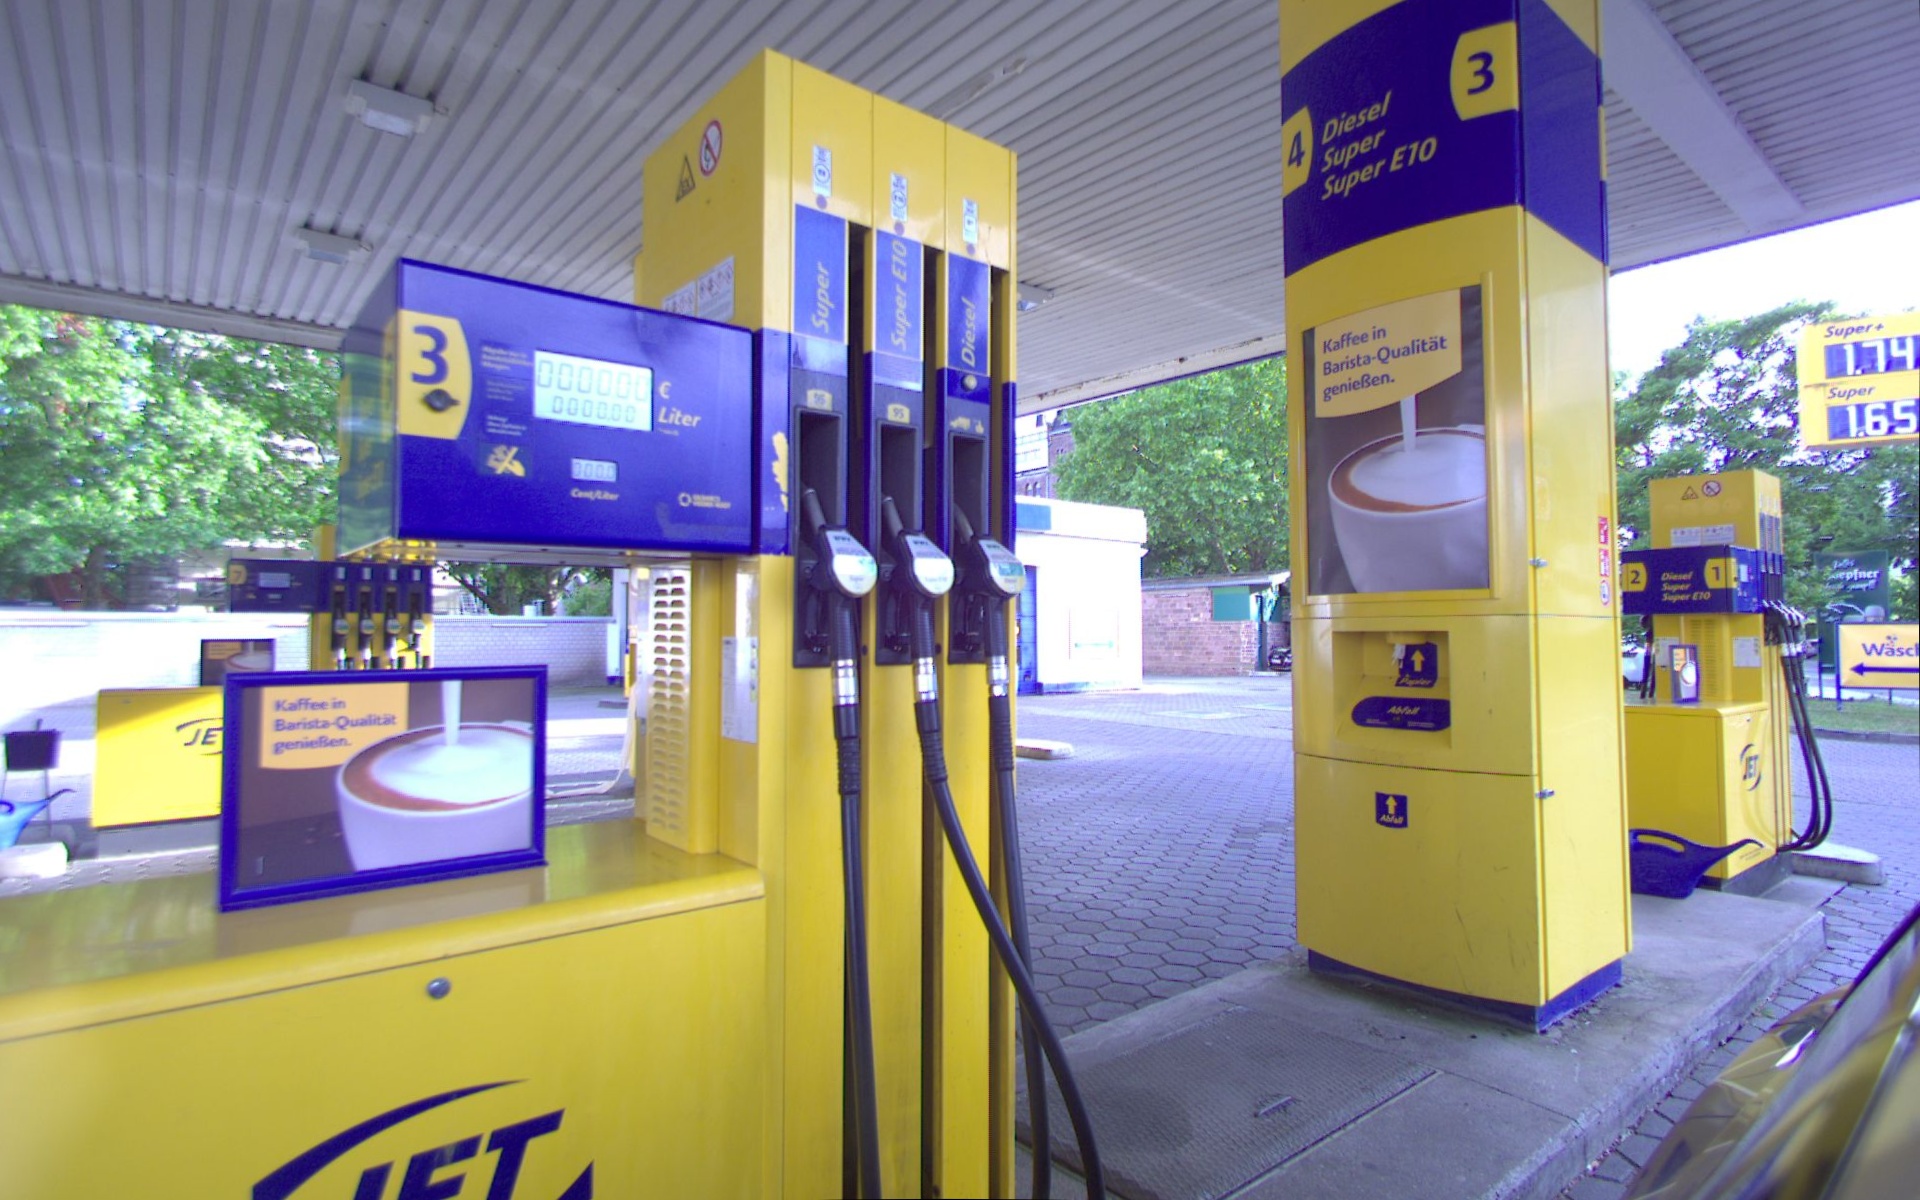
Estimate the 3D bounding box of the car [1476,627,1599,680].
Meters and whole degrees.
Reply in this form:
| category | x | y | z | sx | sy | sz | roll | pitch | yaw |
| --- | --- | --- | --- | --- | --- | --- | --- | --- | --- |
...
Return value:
| category | x | y | z | sx | sy | sz | roll | pitch | yaw |
| --- | --- | --- | --- | --- | --- | --- | --- | --- | --- |
| car | 17.563 | 1.640 | 30.754 | 3.923 | 1.529 | 1.740 | 3 | -3 | -35 |

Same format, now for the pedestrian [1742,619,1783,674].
| category | x | y | z | sx | sy | sz | roll | pitch | yaw |
| --- | --- | --- | --- | --- | --- | --- | --- | --- | --- |
| pedestrian | 30.159 | 1.734 | 38.061 | 0.923 | 2.040 | 1.205 | 0 | -2 | 25 |

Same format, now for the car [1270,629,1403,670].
| category | x | y | z | sx | sy | sz | roll | pitch | yaw |
| --- | --- | --- | --- | --- | --- | --- | --- | --- | --- |
| car | 12.836 | 1.698 | 34.502 | 4.134 | 1.294 | 1.751 | 2 | -3 | -22 |

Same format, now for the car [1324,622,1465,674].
| category | x | y | z | sx | sy | sz | roll | pitch | yaw |
| --- | --- | --- | --- | --- | --- | --- | --- | --- | --- |
| car | 13.796 | 1.547 | 32.154 | 4.134 | 1.544 | 1.791 | 2 | -3 | -24 |

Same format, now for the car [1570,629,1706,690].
| category | x | y | z | sx | sy | sz | roll | pitch | yaw |
| --- | --- | --- | --- | --- | --- | --- | --- | --- | --- |
| car | 18.228 | 1.561 | 27.167 | 3.923 | 1.529 | 1.740 | 2 | -3 | -35 |
